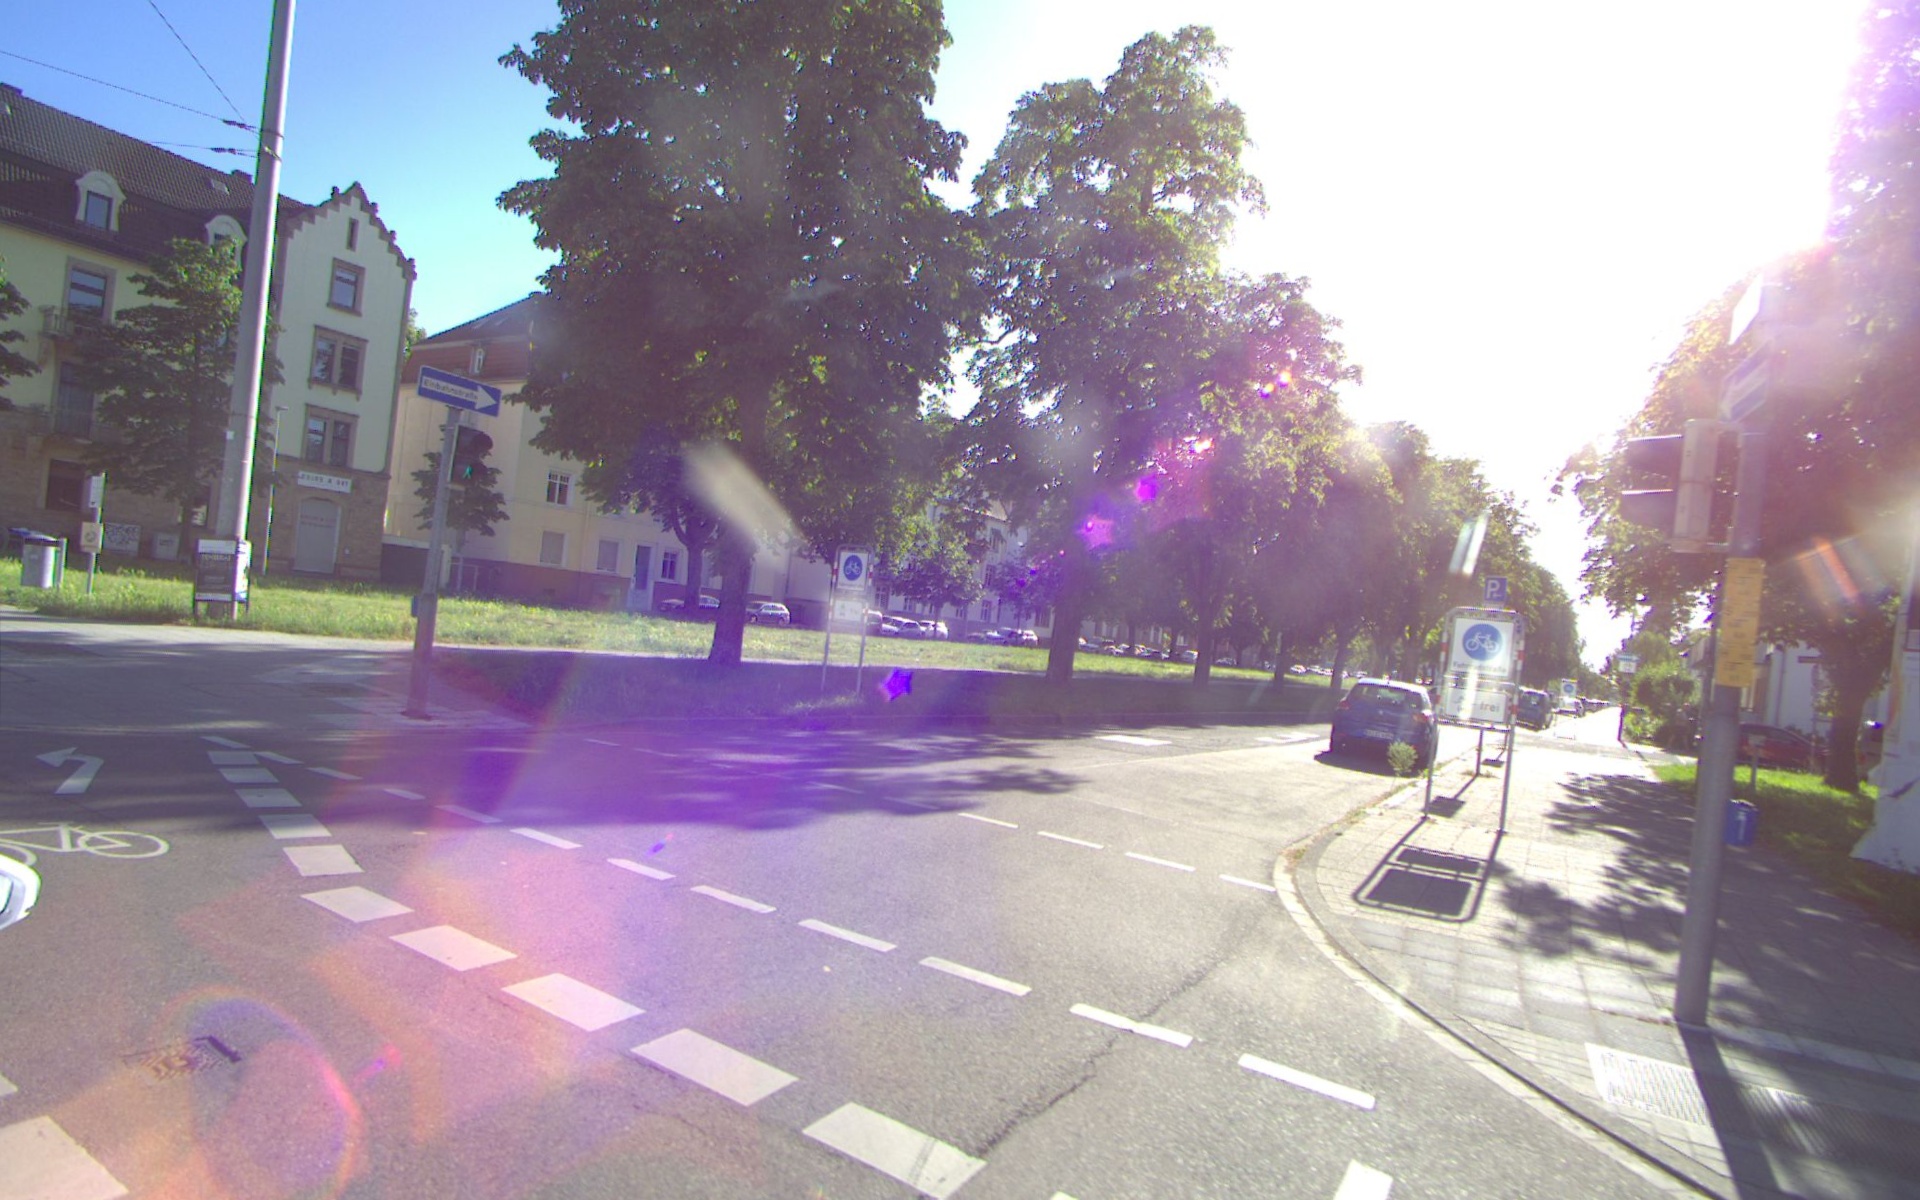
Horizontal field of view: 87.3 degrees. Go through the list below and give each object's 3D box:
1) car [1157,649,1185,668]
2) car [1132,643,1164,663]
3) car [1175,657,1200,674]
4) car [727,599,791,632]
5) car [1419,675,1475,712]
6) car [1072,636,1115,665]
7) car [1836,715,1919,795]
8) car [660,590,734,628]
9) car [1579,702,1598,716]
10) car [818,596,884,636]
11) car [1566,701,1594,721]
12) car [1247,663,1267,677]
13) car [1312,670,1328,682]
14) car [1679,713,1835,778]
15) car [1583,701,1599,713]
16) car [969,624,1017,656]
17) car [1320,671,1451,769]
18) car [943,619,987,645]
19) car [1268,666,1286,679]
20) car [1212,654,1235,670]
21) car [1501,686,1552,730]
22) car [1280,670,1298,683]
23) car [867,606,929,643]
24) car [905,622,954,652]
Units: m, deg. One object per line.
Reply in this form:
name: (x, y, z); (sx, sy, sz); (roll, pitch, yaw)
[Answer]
car: (22.290, 6.209, 106.354); (1.623, 1.535, 3.400); (6, -3, 33)
car: (18.925, 5.355, 100.970); (1.626, 1.535, 3.395); (6, -3, 38)
car: (28.909, 8.311, 127.577); (1.707, 1.622, 3.699); (6, -3, 34)
car: (-12.711, 0.981, 63.842); (1.707, 1.530, 3.700); (6, -3, 33)
car: (23.717, 4.546, 48.940); (1.648, 1.449, 3.885); (4, -5, 37)
car: (12.281, 4.632, 92.380); (1.897, 2.054, 4.654); (6, -3, 34)
car: (26.148, 4.300, 26.522); (4.274, 1.858, 1.917); (6, -1, 36)
car: (-15.590, 0.544, 59.815); (1.799, 1.623, 3.846); (9, -2, 35)
car: (80.099, 13.859, 128.217); (1.796, 1.450, 3.991); (6, -1, 34)
car: (-6.705, 1.012, 62.218); (1.899, 1.902, 3.696); (6, -3, 37)
car: (52.797, 9.454, 85.646); (1.796, 1.450, 3.991); (6, -1, 34)
car: (44.948, 10.578, 152.084); (1.707, 1.622, 3.699); (6, -3, 34)
car: (58.429, 12.372, 163.164); (1.623, 1.535, 3.400); (6, -3, 33)
car: (26.739, 4.858, 33.923); (3.834, 1.489, 1.755); (6, -1, 34)
car: (94.438, 15.971, 150.467); (1.796, 1.450, 3.991); (6, -1, 34)
car: (2.560, 3.108, 77.500); (1.897, 1.902, 3.700); (7, -3, 33)
car: (8.277, 2.238, 19.376); (1.785, 1.450, 3.995); (7, -1, 29)
car: (0.439, 2.682, 84.552); (1.708, 1.622, 3.697); (6, -3, 37)
car: (50.969, 11.728, 161.818); (1.707, 1.622, 3.699); (6, -3, 34)
car: (31.931, 7.532, 121.874); (1.623, 1.535, 3.400); (6, -3, 33)
car: (27.697, 5.307, 49.147); (1.788, 1.845, 3.994); (4, -4, 33)
car: (48.730, 11.277, 148.929); (1.623, 1.535, 3.400); (6, -3, 33)
car: (-4.083, 1.634, 67.188); (1.897, 1.902, 4.061); (7, -3, 33)
car: (-2.382, 2.953, 79.893); (1.897, 1.902, 3.700); (7, -3, 33)
